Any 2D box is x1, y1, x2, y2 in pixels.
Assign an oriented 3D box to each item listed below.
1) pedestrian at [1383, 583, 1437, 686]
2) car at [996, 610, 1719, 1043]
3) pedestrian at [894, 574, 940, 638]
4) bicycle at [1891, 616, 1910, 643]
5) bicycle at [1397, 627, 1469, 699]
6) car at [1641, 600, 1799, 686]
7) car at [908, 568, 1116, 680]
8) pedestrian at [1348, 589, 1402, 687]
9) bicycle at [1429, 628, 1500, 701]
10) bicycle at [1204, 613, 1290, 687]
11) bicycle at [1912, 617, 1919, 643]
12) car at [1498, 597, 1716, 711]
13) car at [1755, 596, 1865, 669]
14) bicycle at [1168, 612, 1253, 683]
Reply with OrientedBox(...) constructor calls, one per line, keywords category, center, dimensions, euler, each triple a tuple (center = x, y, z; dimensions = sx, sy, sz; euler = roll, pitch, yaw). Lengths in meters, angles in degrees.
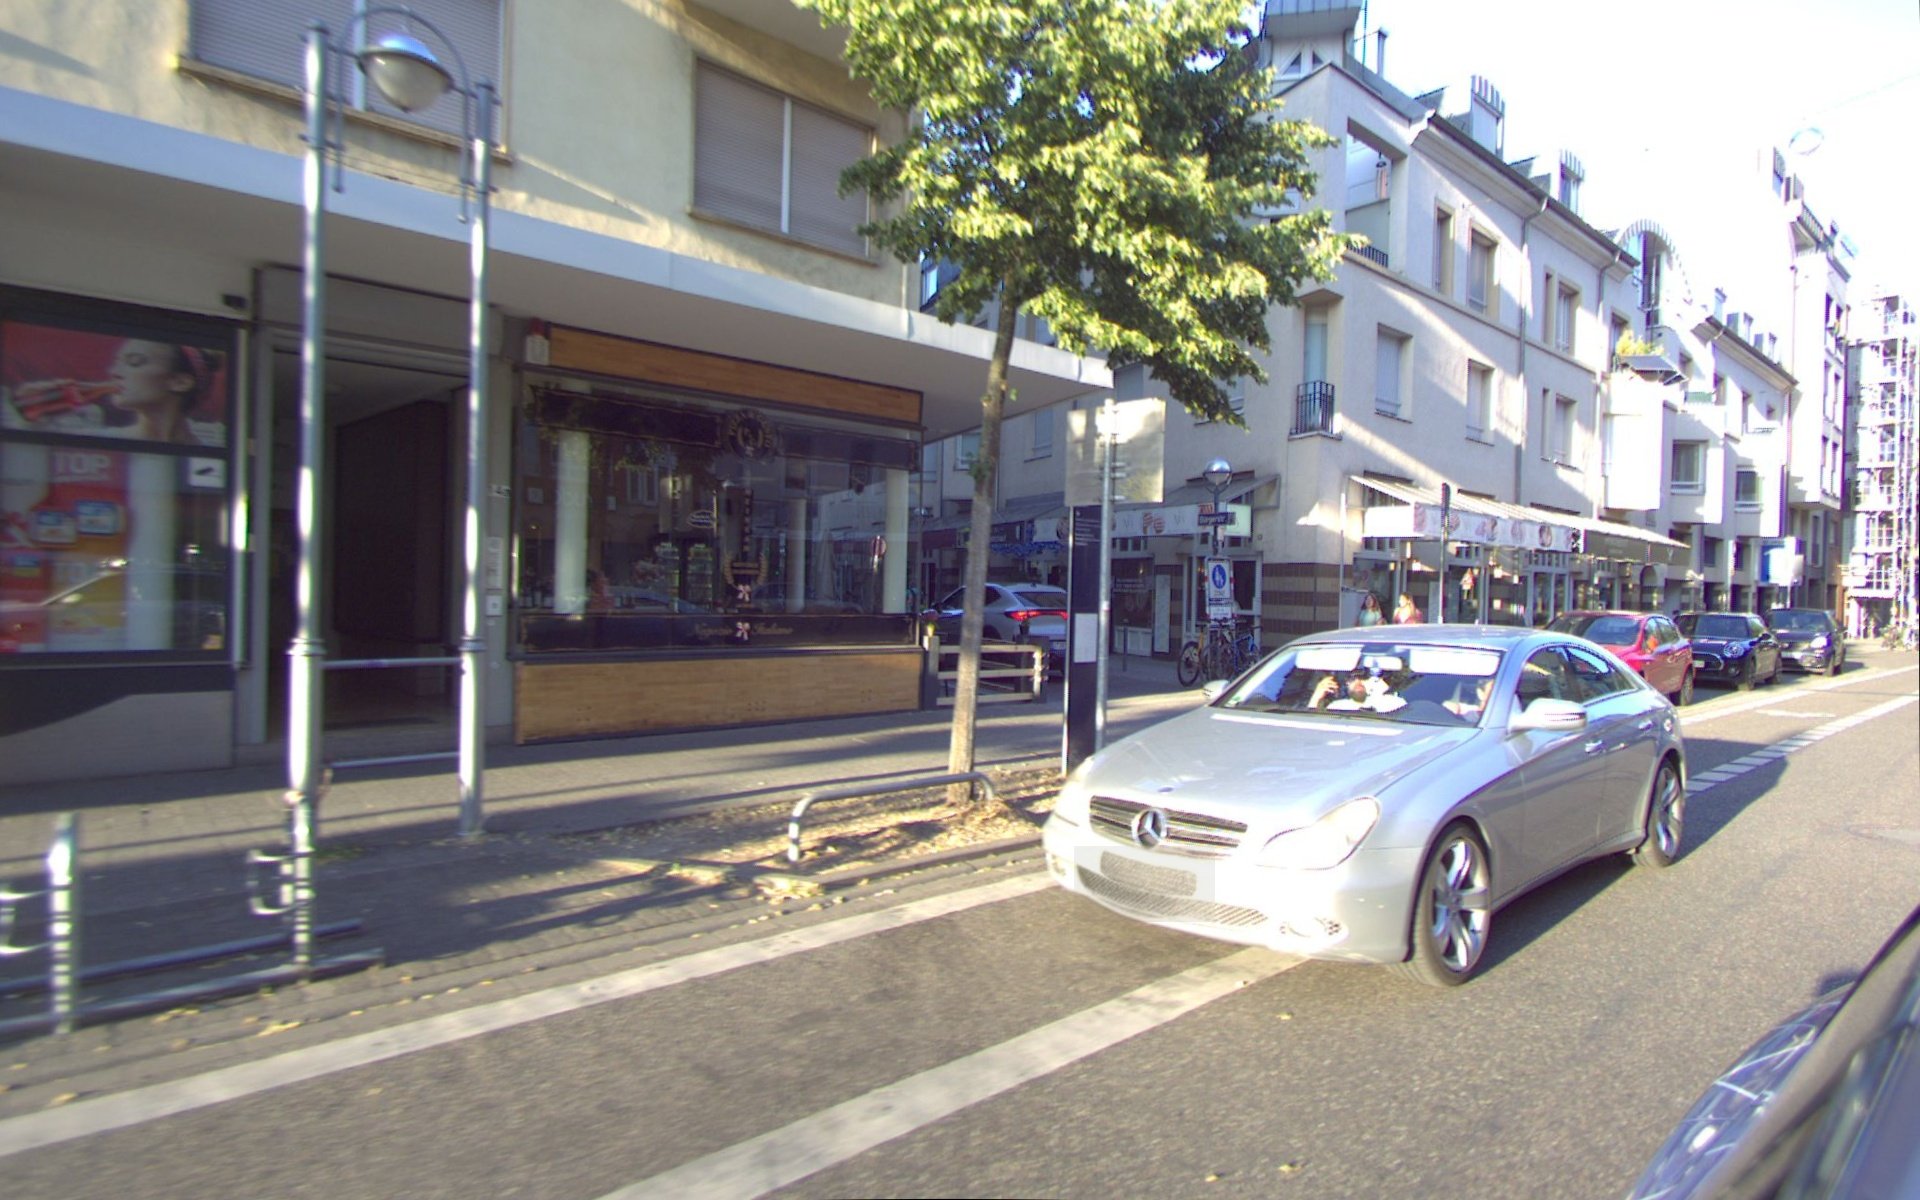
OrientedBox(category="pedestrian", center=(6.989, 0.518, 15.725), dimensions=(0.544, 1.549, 0.542), euler=(1, 0, -35))
OrientedBox(category="car", center=(2.426, 0.755, 5.464), dimensions=(4.472, 1.395, 1.803), euler=(0, -1, -41))
OrientedBox(category="pedestrian", center=(-1.136, 0.144, 26.773), dimensions=(0.911, 1.665, 0.748), euler=(2, 1, 37))
OrientedBox(category="bicycle", center=(36.304, 1.133, 39.073), dimensions=(0.468, 0.970, 1.889), euler=(2, 1, 42))
OrientedBox(category="bicycle", center=(7.004, 0.908, 14.955), dimensions=(1.612, 0.968, 0.391), euler=(0, 1, -44))
OrientedBox(category="car", center=(14.903, 0.775, 19.783), dimensions=(3.683, 1.439, 1.726), euler=(1, 2, -41))
OrientedBox(category="car", center=(0.754, 0.308, 17.587), dimensions=(1.818, 1.631, 4.192), euler=(1, 2, -25))
OrientedBox(category="pedestrian", center=(6.751, 0.597, 16.464), dimensions=(0.638, 1.549, 0.542), euler=(1, 1, -35))
OrientedBox(category="bicycle", center=(7.312, 0.907, 14.636), dimensions=(1.588, 0.968, 0.391), euler=(0, 1, -44))
OrientedBox(category="bicycle", center=(4.455, 0.747, 15.637), dimensions=(1.814, 1.063, 0.391), euler=(0, 1, -44))
OrientedBox(category="bicycle", center=(36.618, 1.135, 38.555), dimensions=(0.468, 0.970, 1.888), euler=(2, 1, 44))
OrientedBox(category="car", center=(9.919, 0.725, 15.406), dimensions=(3.962, 1.439, 1.726), euler=(1, 2, -41))
OrientedBox(category="car", center=(20.362, 0.739, 24.230), dimensions=(2.754, 1.568, 1.571), euler=(1, 2, -41))
OrientedBox(category="bicycle", center=(4.015, 0.730, 16.152), dimensions=(1.814, 1.046, 0.391), euler=(0, 1, -44))
